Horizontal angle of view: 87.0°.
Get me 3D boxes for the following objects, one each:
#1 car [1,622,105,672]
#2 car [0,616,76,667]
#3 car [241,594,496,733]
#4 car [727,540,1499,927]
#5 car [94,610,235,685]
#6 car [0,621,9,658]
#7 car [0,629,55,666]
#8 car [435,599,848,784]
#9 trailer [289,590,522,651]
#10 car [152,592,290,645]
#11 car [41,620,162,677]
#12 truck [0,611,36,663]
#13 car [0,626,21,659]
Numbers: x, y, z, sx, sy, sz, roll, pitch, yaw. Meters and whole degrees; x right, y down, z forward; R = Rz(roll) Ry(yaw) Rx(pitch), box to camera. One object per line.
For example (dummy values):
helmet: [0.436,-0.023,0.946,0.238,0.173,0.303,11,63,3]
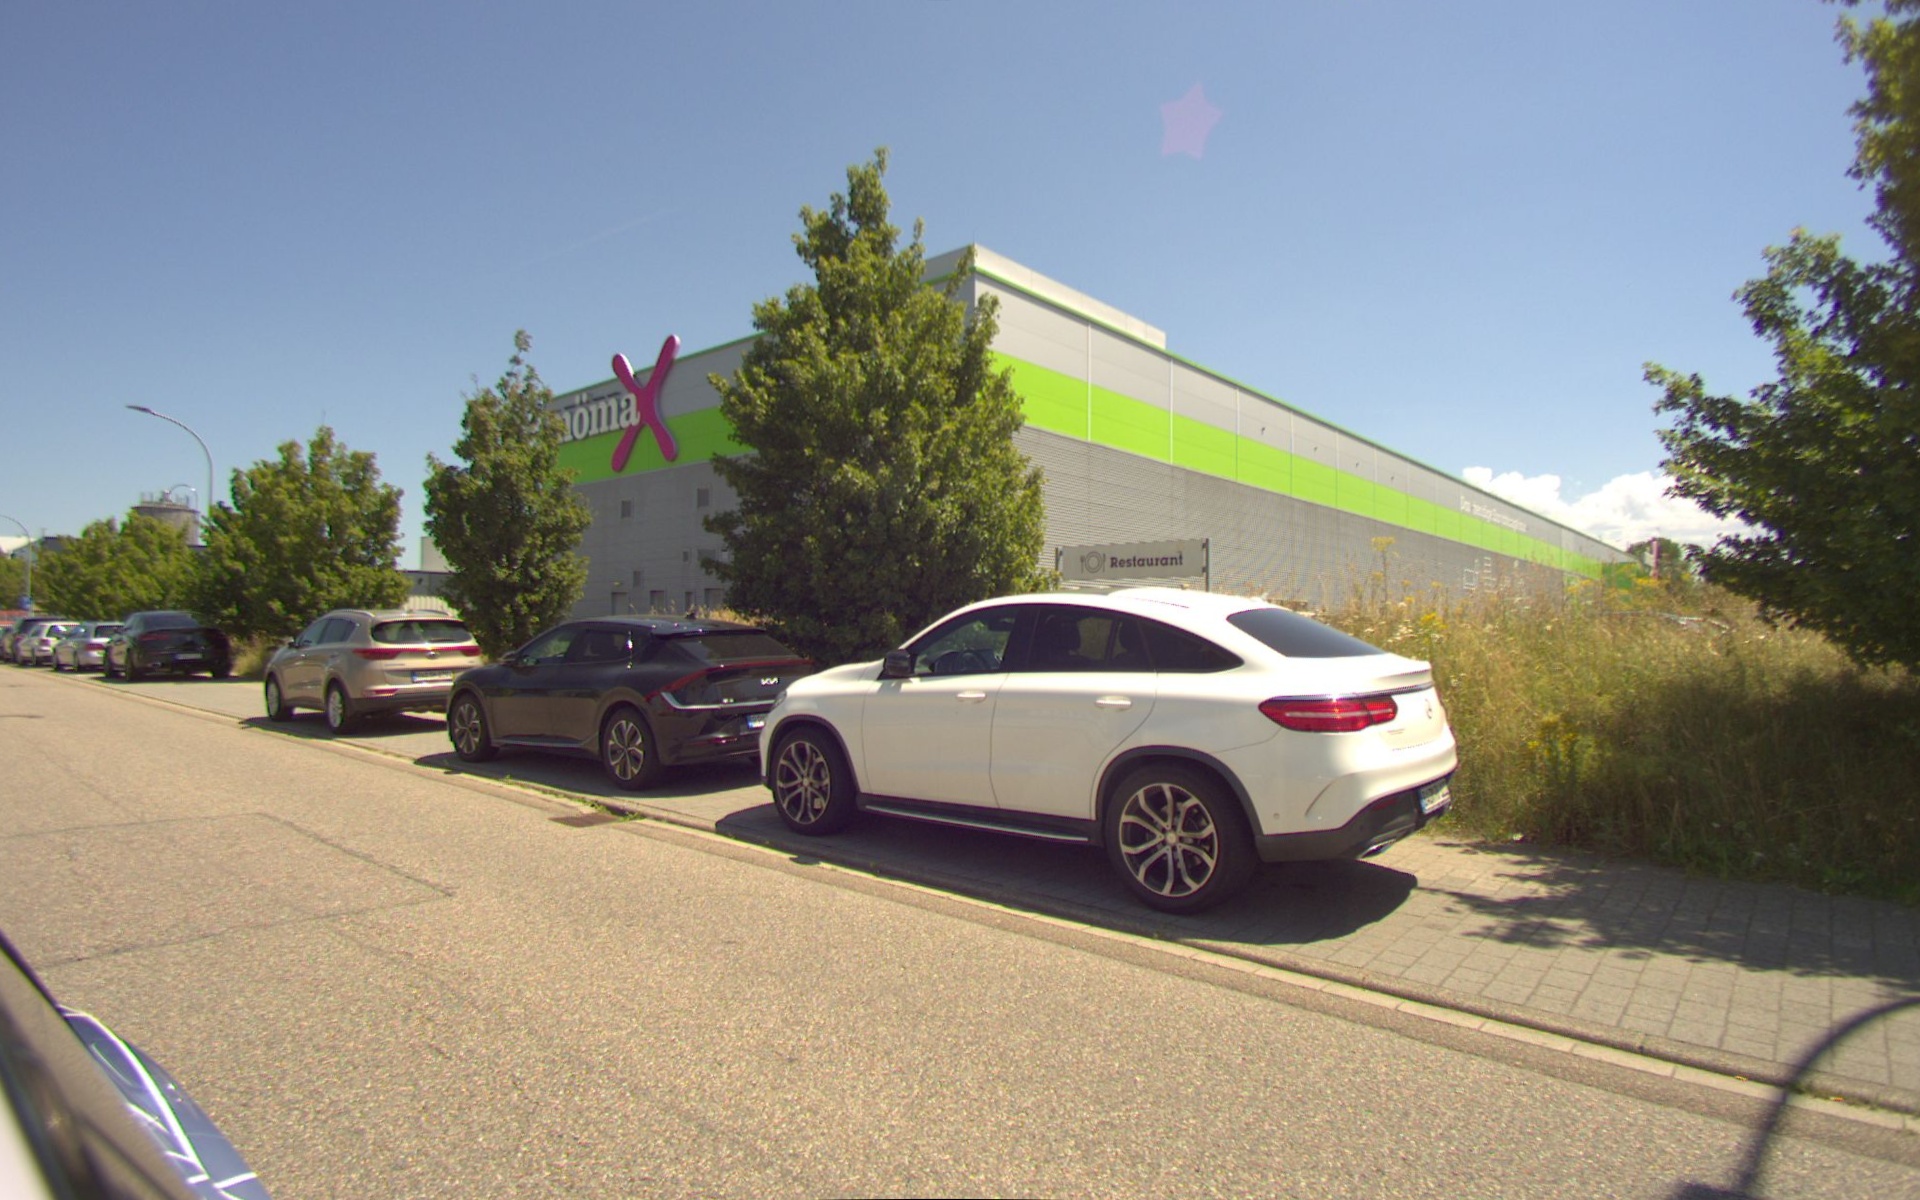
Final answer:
car: [-30.565,1.524,34.063,4.899,1.530,1.833,-1,-1,39]
car: [-34.726,1.514,37.922,4.985,1.772,1.832,-1,-1,42]
car: [-8.686,0.820,14.701,4.410,1.726,1.893,-1,-1,41]
car: [0.689,0.647,6.662,4.752,1.668,1.892,-1,-3,41]
car: [-20.427,1.137,25.907,5.005,1.726,1.970,-1,-1,41]
car: [-51.349,2.036,52.798,5.399,1.915,1.953,-1,-3,41]
car: [-39.051,1.919,41.848,4.751,1.454,1.832,-1,-3,41]
car: [-3.388,0.776,10.348,4.407,1.503,1.894,-1,-1,38]
trailer: [-41.314,1.712,76.371,3.218,4.119,15.156,-1,-3,42]
car: [-41.947,1.058,57.563,2.519,2.846,5.913,-1,-2,40]
car: [-25.818,1.402,30.358,5.160,1.530,1.833,-1,-1,39]
truck: [-43.078,1.647,45.417,4.643,2.239,1.832,-1,-1,41]
car: [-46.601,2.013,48.504,3.763,1.563,1.833,-1,-3,39]
